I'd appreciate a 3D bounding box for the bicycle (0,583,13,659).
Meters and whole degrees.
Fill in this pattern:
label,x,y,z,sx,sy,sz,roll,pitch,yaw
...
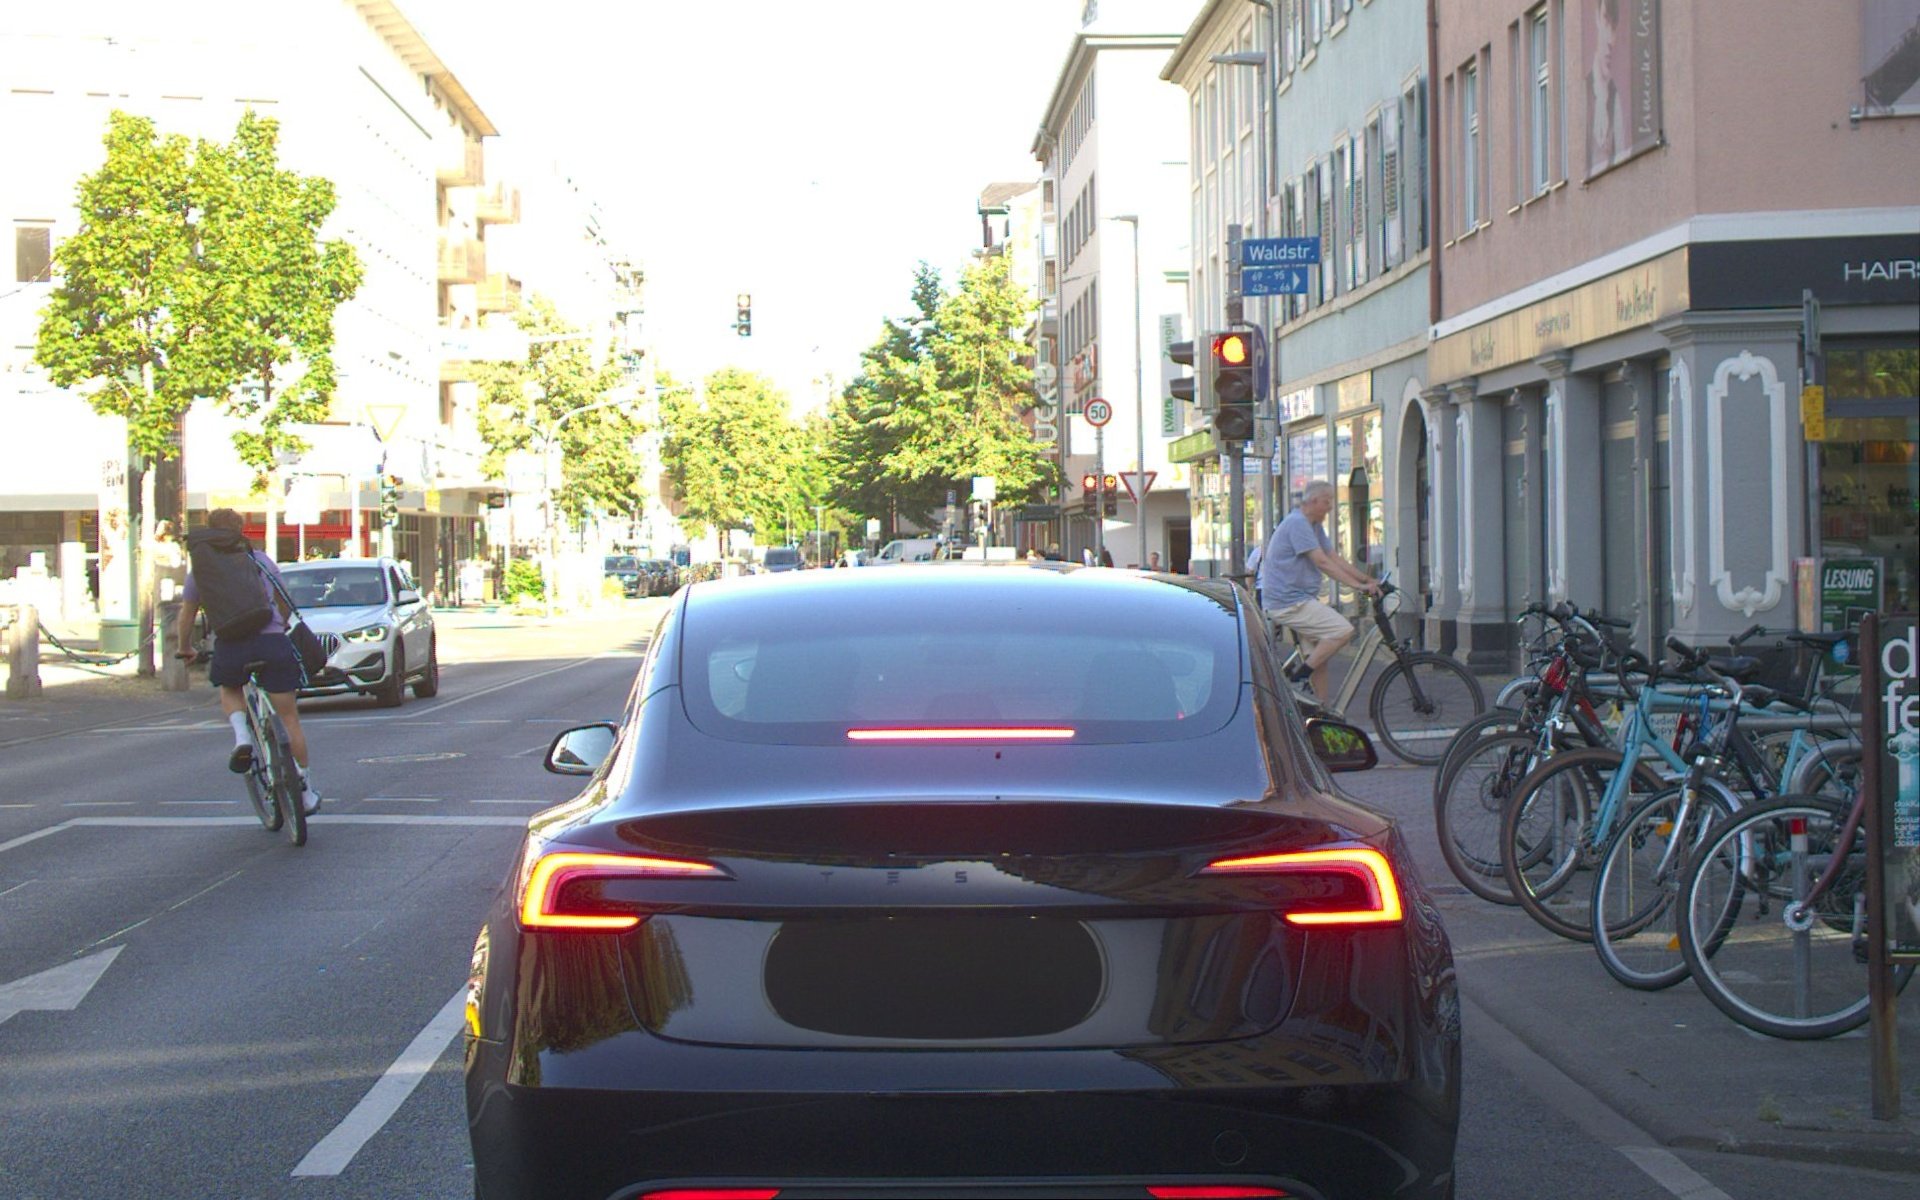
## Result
label,x,y,z,sx,sy,sz,roll,pitch,yaw
bicycle,-14.926,0.304,49.986,2.082,1.100,0.806,0,1,-1

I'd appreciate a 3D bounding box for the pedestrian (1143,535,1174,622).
label,x,y,z,sx,sy,sz,roll,pitch,yaw
pedestrian,3.839,-0.421,66.479,0.570,1.685,0.387,0,1,-1

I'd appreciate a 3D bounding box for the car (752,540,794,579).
label,x,y,z,sx,sy,sz,roll,pitch,yaw
car,-8.422,-1.823,154.941,1.829,1.718,4.000,0,1,-2

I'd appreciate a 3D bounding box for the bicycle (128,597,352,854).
label,x,y,z,sx,sy,sz,roll,pitch,yaw
bicycle,-3.674,0.613,17.685,0.796,1.228,1.774,0,1,-1

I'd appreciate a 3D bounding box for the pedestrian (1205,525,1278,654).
label,x,y,z,sx,sy,sz,roll,pitch,yaw
pedestrian,4.048,-0.150,49.467,0.999,1.844,0.615,0,1,-1

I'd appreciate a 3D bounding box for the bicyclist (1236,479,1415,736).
label,x,y,z,sx,sy,sz,roll,pitch,yaw
bicyclist,2.394,0.041,22.486,1.120,1.648,0.628,0,1,11

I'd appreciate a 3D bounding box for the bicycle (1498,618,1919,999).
label,x,y,z,sx,sy,sz,roll,pitch,yaw
bicycle,2.621,0.664,11.206,1.627,1.156,0.433,-2,1,-1

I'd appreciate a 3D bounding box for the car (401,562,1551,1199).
label,x,y,z,sx,sy,sz,roll,pitch,yaw
car,0.032,0.652,7.433,1.850,1.450,3.786,0,1,0

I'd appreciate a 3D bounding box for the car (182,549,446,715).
label,x,y,z,sx,sy,sz,roll,pitch,yaw
car,-6.774,0.288,36.445,1.993,1.535,4.000,-4,1,-1

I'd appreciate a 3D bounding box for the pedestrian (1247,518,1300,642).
label,x,y,z,sx,sy,sz,roll,pitch,yaw
pedestrian,4.519,-0.289,49.519,0.704,1.777,0.533,0,1,-1

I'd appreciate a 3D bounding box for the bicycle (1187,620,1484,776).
label,x,y,z,sx,sy,sz,roll,pitch,yaw
bicycle,2.460,0.631,22.484,1.864,0.942,0.628,1,1,11

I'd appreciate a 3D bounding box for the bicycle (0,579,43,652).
label,x,y,z,sx,sy,sz,roll,pitch,yaw
bicycle,-15.065,0.233,52.179,2.082,1.100,0.806,0,1,-1

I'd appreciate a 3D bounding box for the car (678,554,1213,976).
label,x,y,z,sx,sy,sz,roll,pitch,yaw
car,-0.045,0.547,13.801,1.850,1.450,3.786,0,1,0

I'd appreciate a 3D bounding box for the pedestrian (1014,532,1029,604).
label,x,y,z,sx,sy,sz,roll,pitch,yaw
pedestrian,1.698,-0.886,94.988,0.384,2.007,0.297,0,1,-1

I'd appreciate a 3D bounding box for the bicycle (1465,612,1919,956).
label,x,y,z,sx,sy,sz,roll,pitch,yaw
bicycle,2.691,0.653,12.410,1.627,1.156,0.433,-2,1,-1

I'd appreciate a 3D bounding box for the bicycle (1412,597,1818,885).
label,x,y,z,sx,sy,sz,roll,pitch,yaw
bicycle,2.799,0.598,14.768,1.628,1.156,0.433,-2,1,1

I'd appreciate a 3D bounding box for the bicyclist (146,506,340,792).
label,x,y,z,sx,sy,sz,roll,pitch,yaw
bicyclist,-3.676,0.238,17.706,0.796,1.430,1.008,0,1,-1

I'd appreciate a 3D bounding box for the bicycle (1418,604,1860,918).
label,x,y,z,sx,sy,sz,roll,pitch,yaw
bicycle,2.675,0.628,13.607,1.627,1.156,0.433,-2,1,-1
